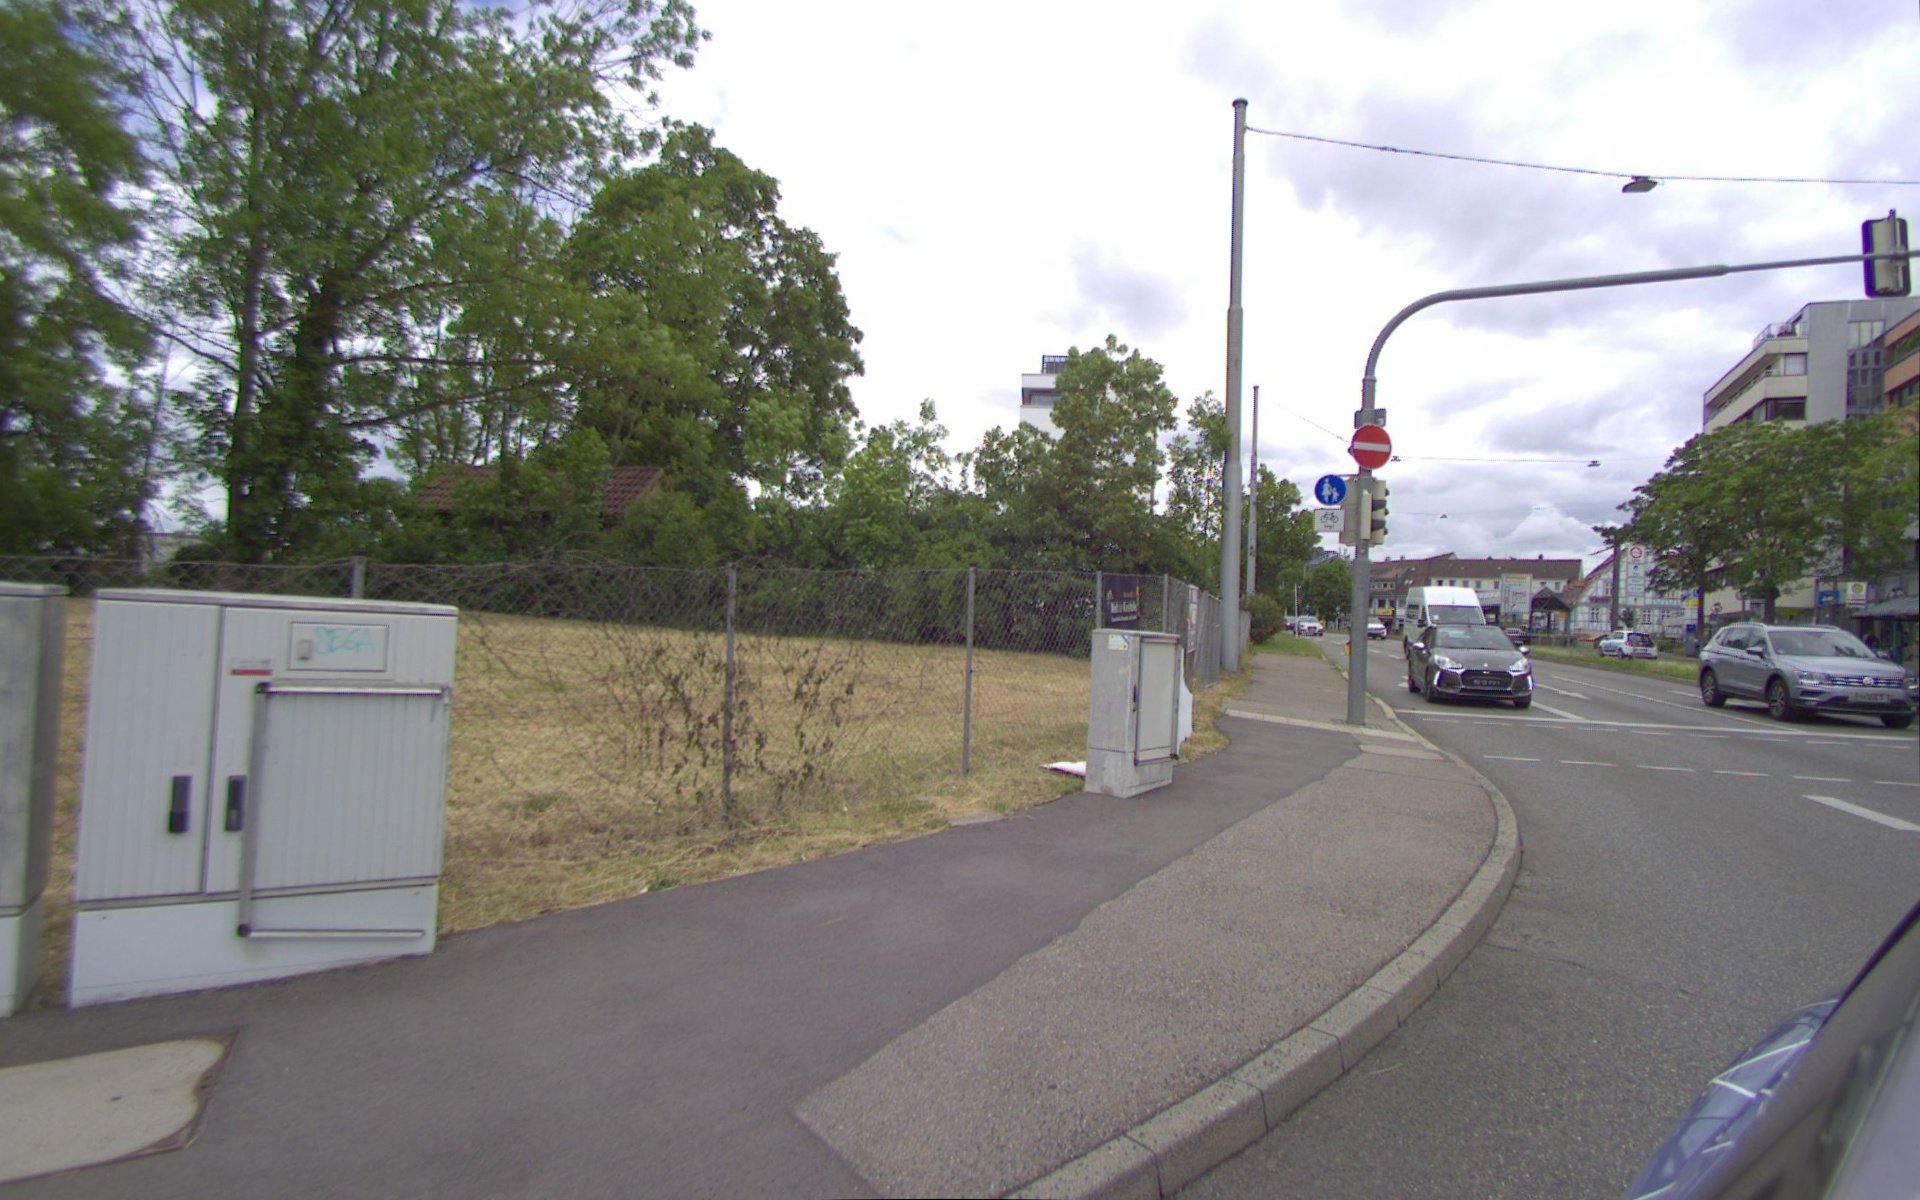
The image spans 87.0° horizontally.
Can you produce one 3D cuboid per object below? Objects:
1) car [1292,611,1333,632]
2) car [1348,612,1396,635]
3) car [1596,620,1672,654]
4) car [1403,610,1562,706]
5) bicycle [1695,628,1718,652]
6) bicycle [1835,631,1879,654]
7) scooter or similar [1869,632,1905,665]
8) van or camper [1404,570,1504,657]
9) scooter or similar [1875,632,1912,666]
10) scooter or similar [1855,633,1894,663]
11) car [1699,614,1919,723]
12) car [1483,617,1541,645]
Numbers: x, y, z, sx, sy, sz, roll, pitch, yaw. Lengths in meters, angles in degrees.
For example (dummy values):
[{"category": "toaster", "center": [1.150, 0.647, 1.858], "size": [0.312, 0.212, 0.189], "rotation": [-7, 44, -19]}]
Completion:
[{"category": "car", "center": [26.310, 1.564, 75.600], "size": [1.965, 1.393, 3.993], "rotation": [2, 0, 6]}, {"category": "car", "center": [28.111, 1.607, 69.164], "size": [1.966, 1.393, 3.993], "rotation": [2, 0, 6]}, {"category": "car", "center": [35.427, 1.916, 53.307], "size": [1.724, 1.536, 3.990], "rotation": [2, 0, 8]}, {"category": "car", "center": [9.817, 1.037, 19.342], "size": [1.838, 1.544, 3.980], "rotation": [3, -1, 15]}, {"category": "bicycle", "center": [41.455, 2.244, 56.170], "size": [1.653, 1.269, 0.626], "rotation": [3, 0, -40]}, {"category": "bicycle", "center": [56.017, 2.646, 63.221], "size": [1.961, 1.336, 0.697], "rotation": [2, 0, 34]}, {"category": "scooter or similar", "center": [41.009, 2.140, 44.758], "size": [1.186, 1.402, 0.221], "rotation": [2, 0, 11]}, {"category": "van or camper", "center": [17.660, 0.537, 36.550], "size": [2.252, 2.741, 6.951], "rotation": [3, -1, 18]}, {"category": "scooter or similar", "center": [41.015, 2.152, 44.483], "size": [1.186, 1.441, 0.259], "rotation": [2, 0, 11]}, {"category": "scooter or similar", "center": [41.024, 2.159, 45.400], "size": [1.304, 1.286, 0.338], "rotation": [1, -1, 11]}, {"category": "car", "center": [15.284, 1.119, 18.068], "size": [1.973, 1.671, 4.369], "rotation": [1, -1, 17]}, {"category": "car", "center": [33.887, 1.878, 62.241], "size": [1.793, 1.415, 4.990], "rotation": [4, 1, 13]}]
